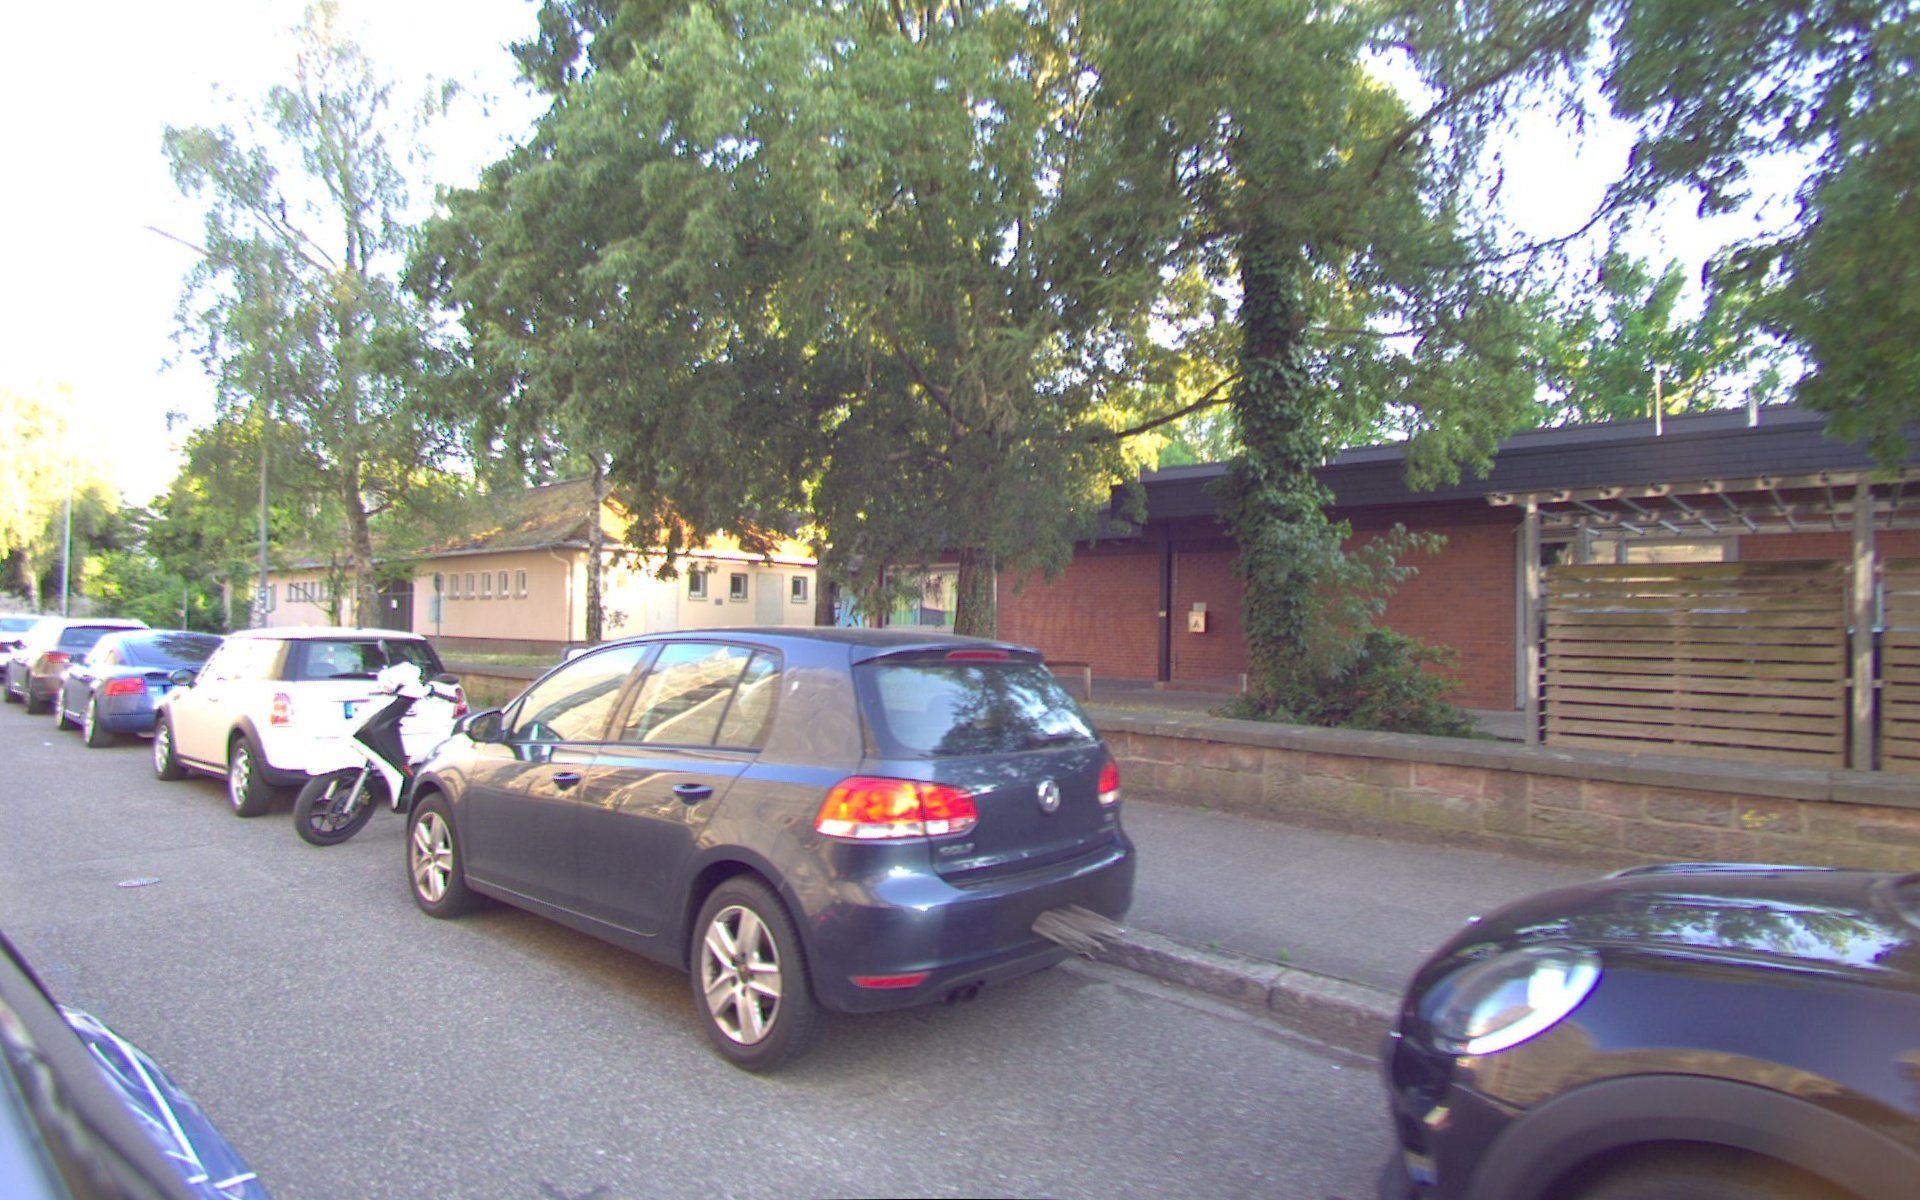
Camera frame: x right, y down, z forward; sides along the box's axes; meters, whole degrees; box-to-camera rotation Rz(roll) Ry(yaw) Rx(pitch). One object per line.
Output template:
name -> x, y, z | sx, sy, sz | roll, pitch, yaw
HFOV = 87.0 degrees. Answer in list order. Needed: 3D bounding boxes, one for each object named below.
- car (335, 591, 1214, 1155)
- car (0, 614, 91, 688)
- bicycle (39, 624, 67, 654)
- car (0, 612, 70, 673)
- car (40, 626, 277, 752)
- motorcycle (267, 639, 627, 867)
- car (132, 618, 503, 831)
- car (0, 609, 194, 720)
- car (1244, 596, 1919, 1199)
car -> -1.191, 0.791, 4.802 | 4.357, 1.507, 1.698 | -1, -3, 40
car -> -20.464, 1.068, 21.896 | 4.745, 1.457, 1.764 | -1, -4, 41
bicycle -> -35.409, 1.499, 39.493 | 1.953, 1.126, 0.538 | -1, -1, 40
car -> -24.475, 1.057, 25.822 | 3.995, 1.464, 1.974 | -1, -2, 38
car -> -10.260, 1.025, 12.849 | 4.153, 1.323, 1.641 | -1, -3, 42
motorcycle -> -3.524, 0.955, 7.046 | 2.135, 1.313, 0.882 | 0, -1, -35
car -> -5.692, 0.930, 8.797 | 3.801, 1.442, 1.585 | -1, -4, 40
car -> -14.191, 0.963, 16.385 | 4.756, 1.549, 1.840 | -1, -3, 41
car -> 2.596, 0.770, 1.328 | 3.992, 1.489, 1.619 | -1, -3, 42
